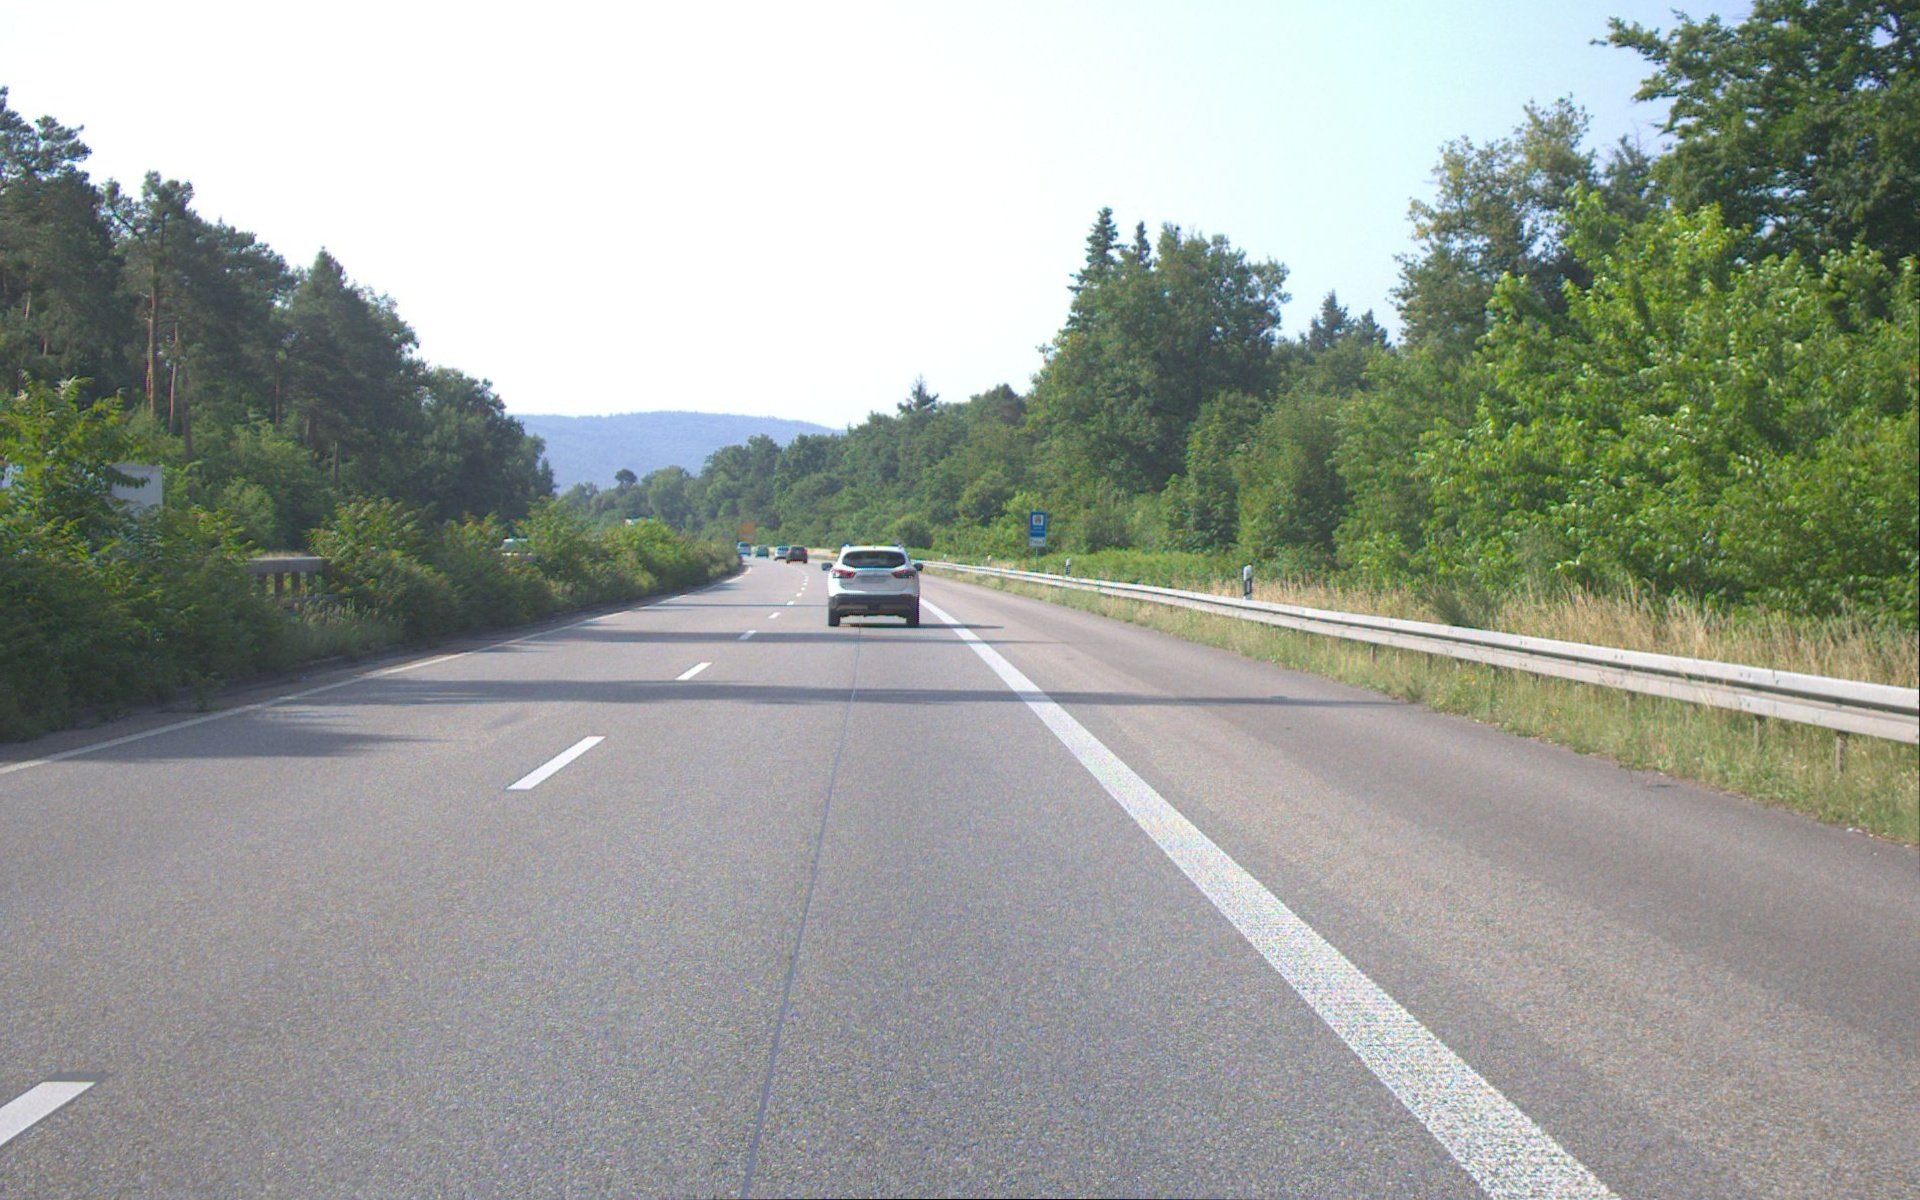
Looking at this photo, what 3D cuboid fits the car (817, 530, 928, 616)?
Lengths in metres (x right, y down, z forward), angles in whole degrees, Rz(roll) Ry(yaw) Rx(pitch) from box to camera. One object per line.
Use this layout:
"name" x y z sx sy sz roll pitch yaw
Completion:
"car" -1.771 -0.556 68.281 1.873 1.581 4.001 2 1 -5

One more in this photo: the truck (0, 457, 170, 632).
"truck" -17.243 -1.061 66.323 2.462 3.165 7.228 -1 1 -2
